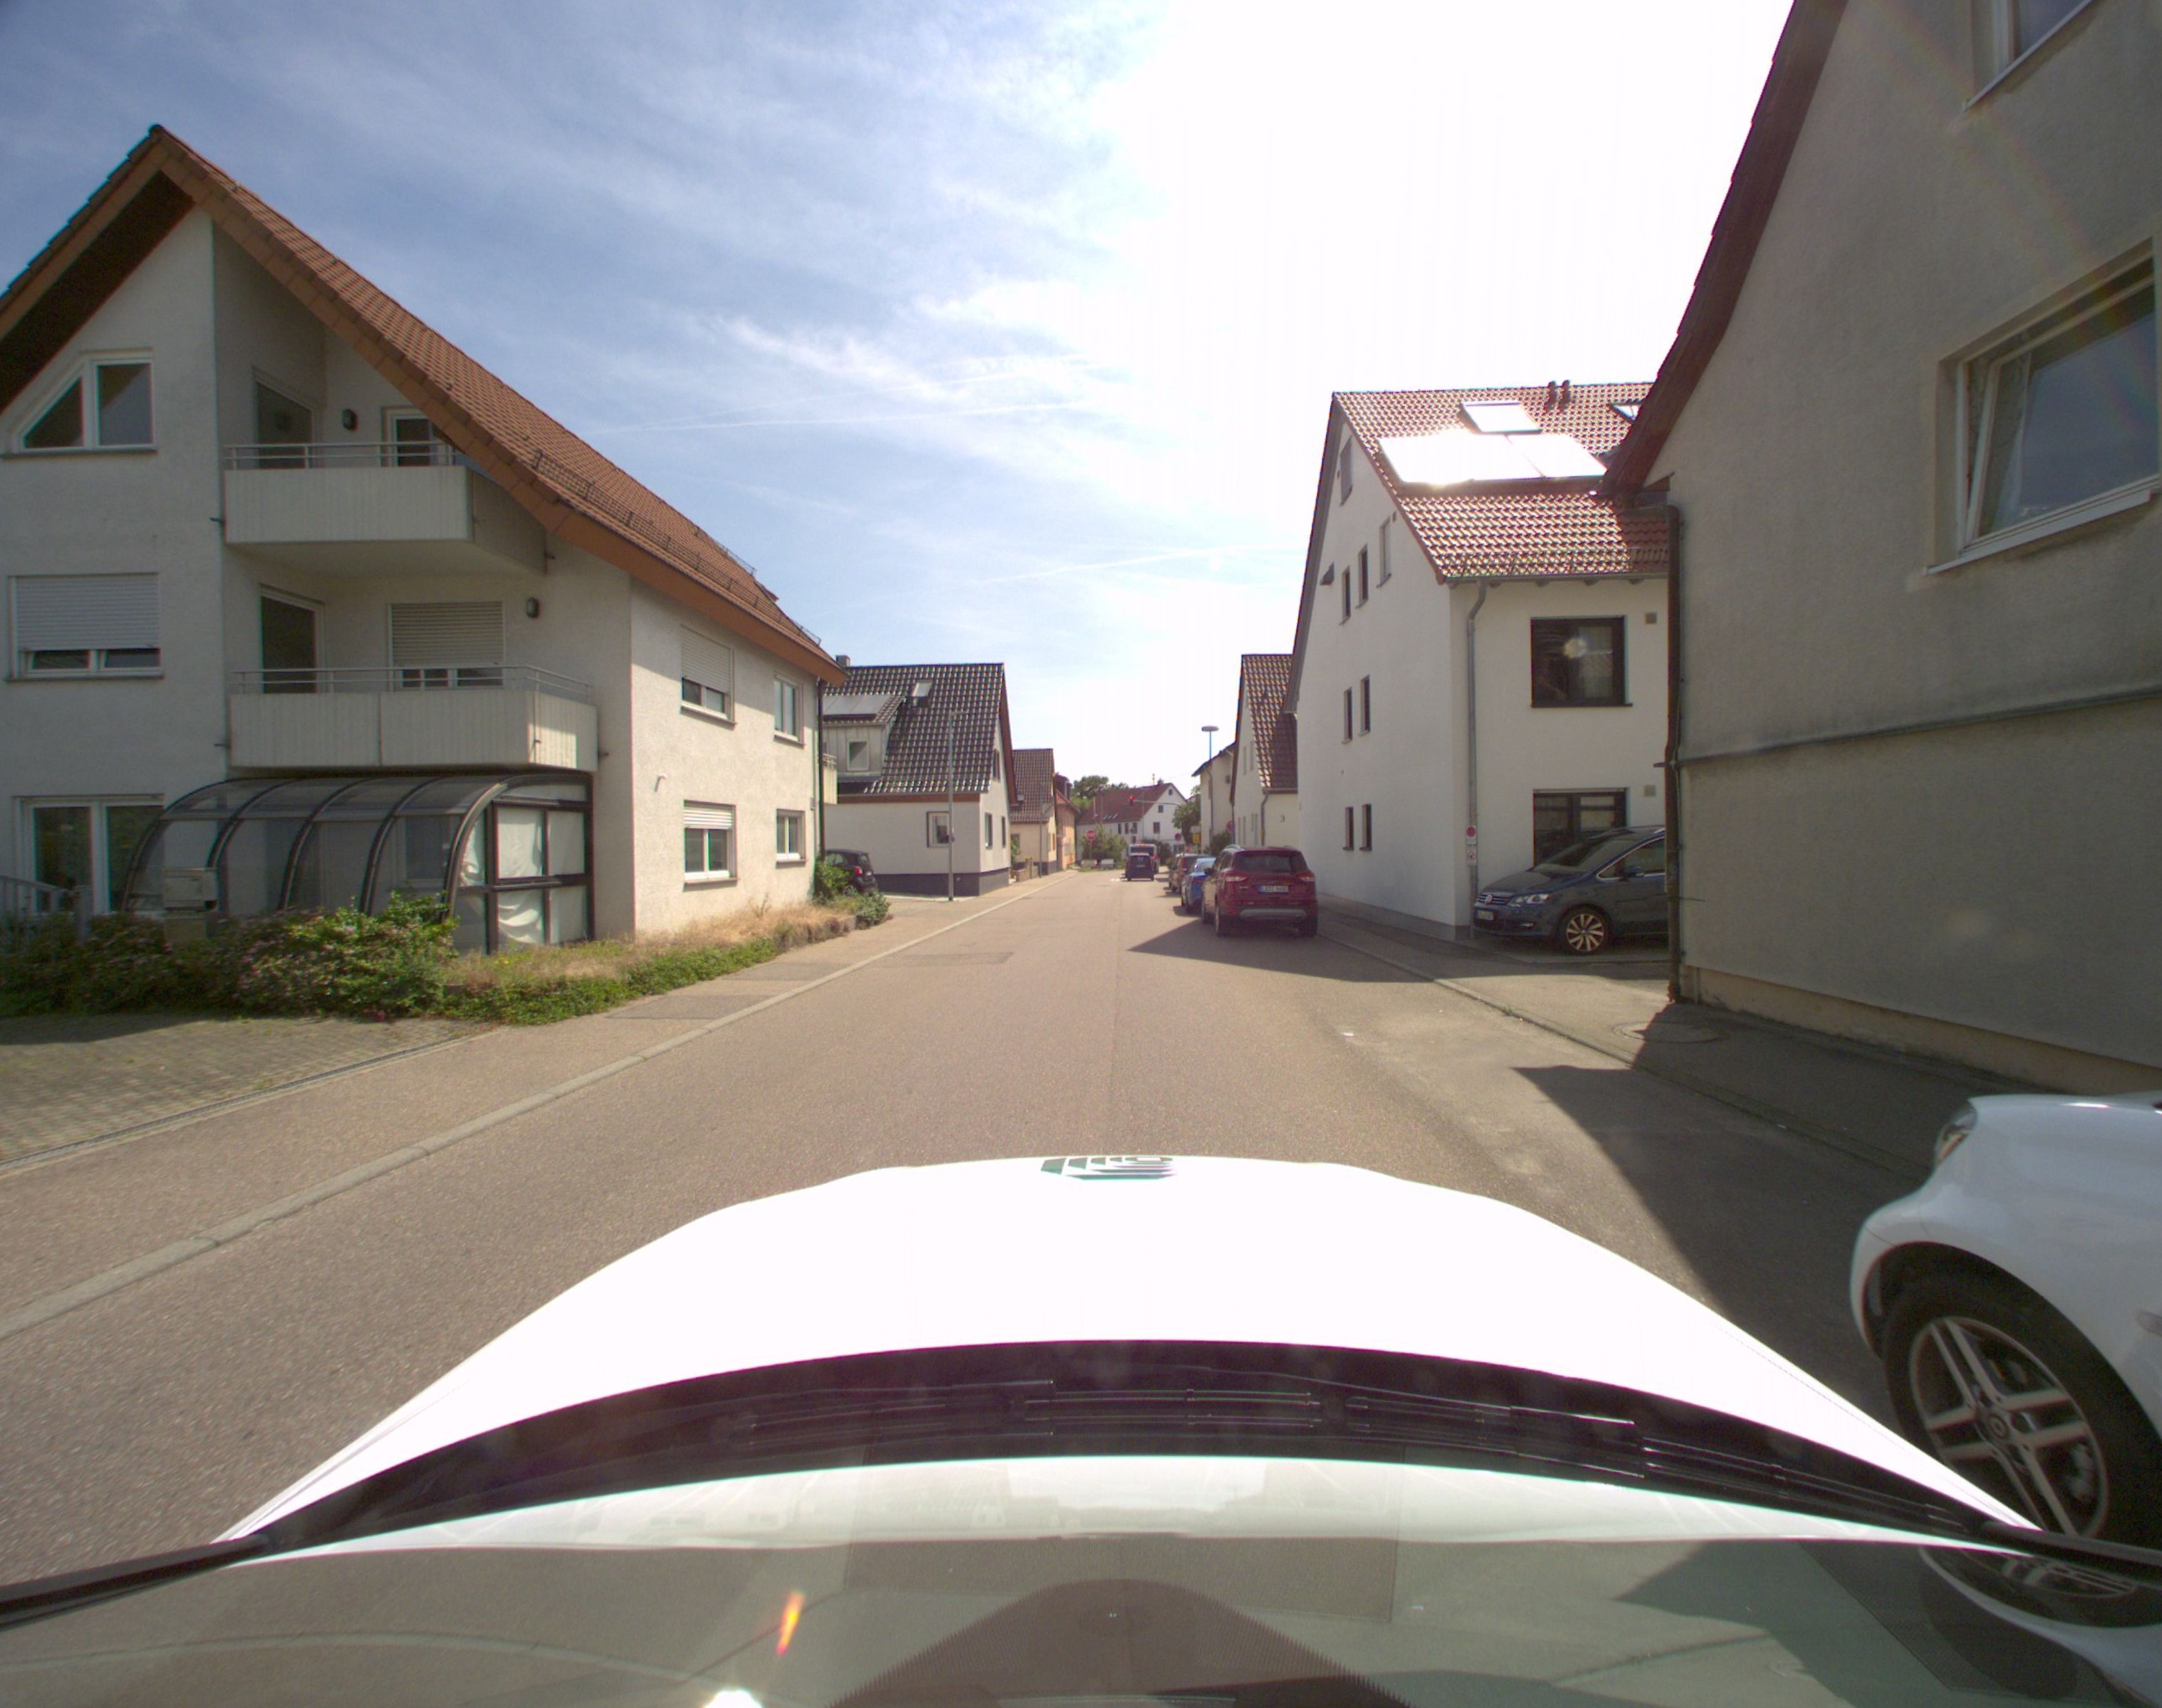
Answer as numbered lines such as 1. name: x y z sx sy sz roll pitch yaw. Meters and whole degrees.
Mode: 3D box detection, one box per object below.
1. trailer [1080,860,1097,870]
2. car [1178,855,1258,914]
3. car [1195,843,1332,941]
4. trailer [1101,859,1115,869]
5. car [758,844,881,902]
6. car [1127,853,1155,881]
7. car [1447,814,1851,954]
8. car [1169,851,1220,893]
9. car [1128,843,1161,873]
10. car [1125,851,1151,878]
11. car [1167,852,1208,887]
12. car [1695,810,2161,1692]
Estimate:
1. trailer: 0.728 1.068 77.242 1.495 0.927 1.013 1 0 4
2. car: 3.643 0.758 22.376 1.755 1.424 4.597 0 0 4
3. car: 3.461 0.650 16.211 1.869 1.700 4.184 0 0 1
4. trailer: 2.537 0.927 77.006 1.305 0.970 0.934 -1 0 4
5. car: -7.926 0.559 24.897 3.099 1.577 1.715 3 0 1
6. car: 3.523 0.729 47.222 1.508 1.567 3.190 0 0 6
7. car: 7.994 0.395 11.811 4.501 1.843 2.000 0 0 0
8. car: 4.424 0.671 32.082 1.562 1.545 3.449 0 0 1
9. car: 4.836 0.316 61.407 2.116 2.158 4.748 -1 0 9
10. car: 3.654 0.637 52.170 1.508 1.624 3.190 -1 0 6
11. car: 4.712 0.662 36.286 1.492 1.513 3.363 0 0 2
12. car: 2.724 0.697 1.040 1.667 1.559 3.042 0 0 2
